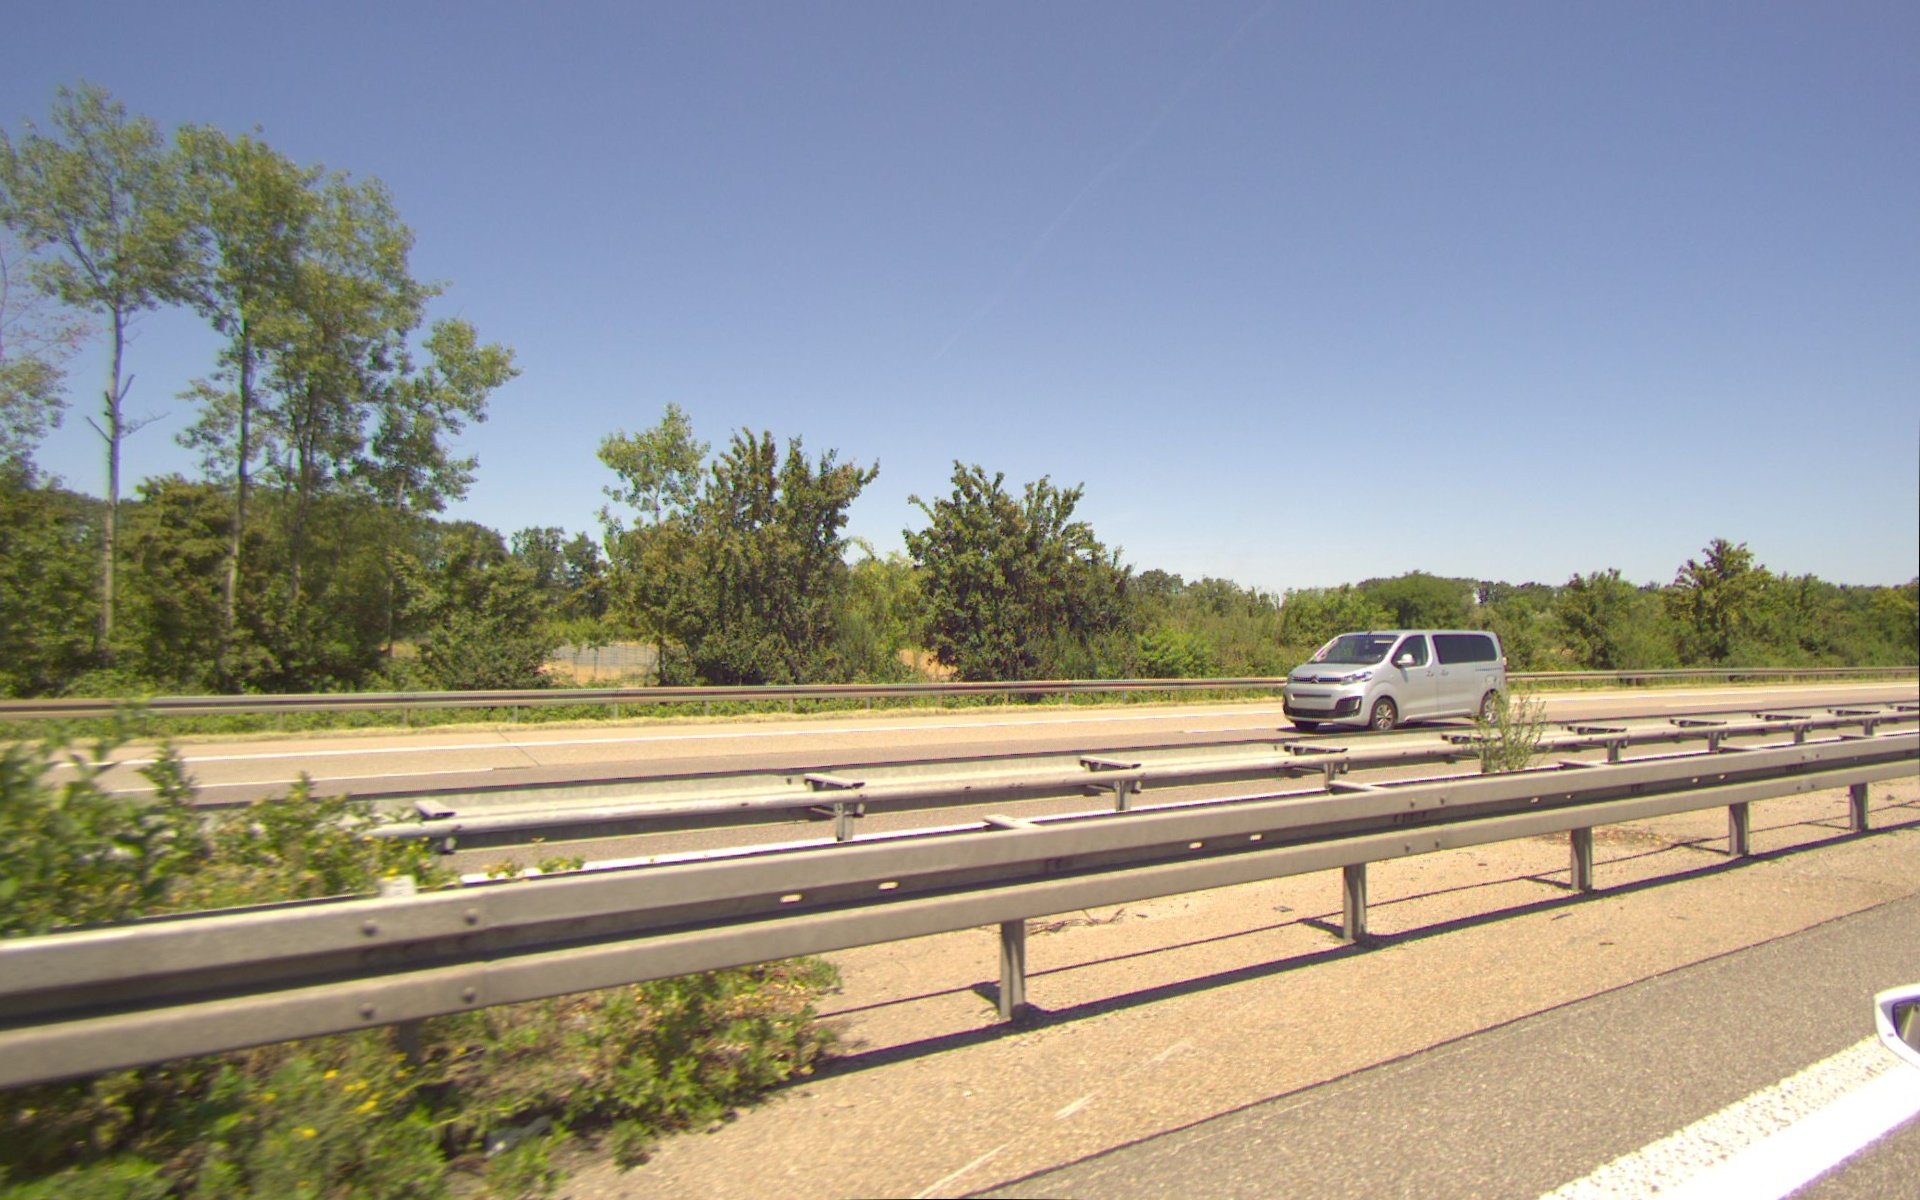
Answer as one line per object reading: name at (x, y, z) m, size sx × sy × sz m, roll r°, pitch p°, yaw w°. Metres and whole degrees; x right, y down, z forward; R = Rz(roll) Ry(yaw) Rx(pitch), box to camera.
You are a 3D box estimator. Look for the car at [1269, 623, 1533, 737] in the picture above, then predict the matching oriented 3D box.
car at (8.555, 1.485, 19.374) m, size 5.167 × 1.949 × 2.032 m, roll 2°, pitch -4°, yaw -31°
